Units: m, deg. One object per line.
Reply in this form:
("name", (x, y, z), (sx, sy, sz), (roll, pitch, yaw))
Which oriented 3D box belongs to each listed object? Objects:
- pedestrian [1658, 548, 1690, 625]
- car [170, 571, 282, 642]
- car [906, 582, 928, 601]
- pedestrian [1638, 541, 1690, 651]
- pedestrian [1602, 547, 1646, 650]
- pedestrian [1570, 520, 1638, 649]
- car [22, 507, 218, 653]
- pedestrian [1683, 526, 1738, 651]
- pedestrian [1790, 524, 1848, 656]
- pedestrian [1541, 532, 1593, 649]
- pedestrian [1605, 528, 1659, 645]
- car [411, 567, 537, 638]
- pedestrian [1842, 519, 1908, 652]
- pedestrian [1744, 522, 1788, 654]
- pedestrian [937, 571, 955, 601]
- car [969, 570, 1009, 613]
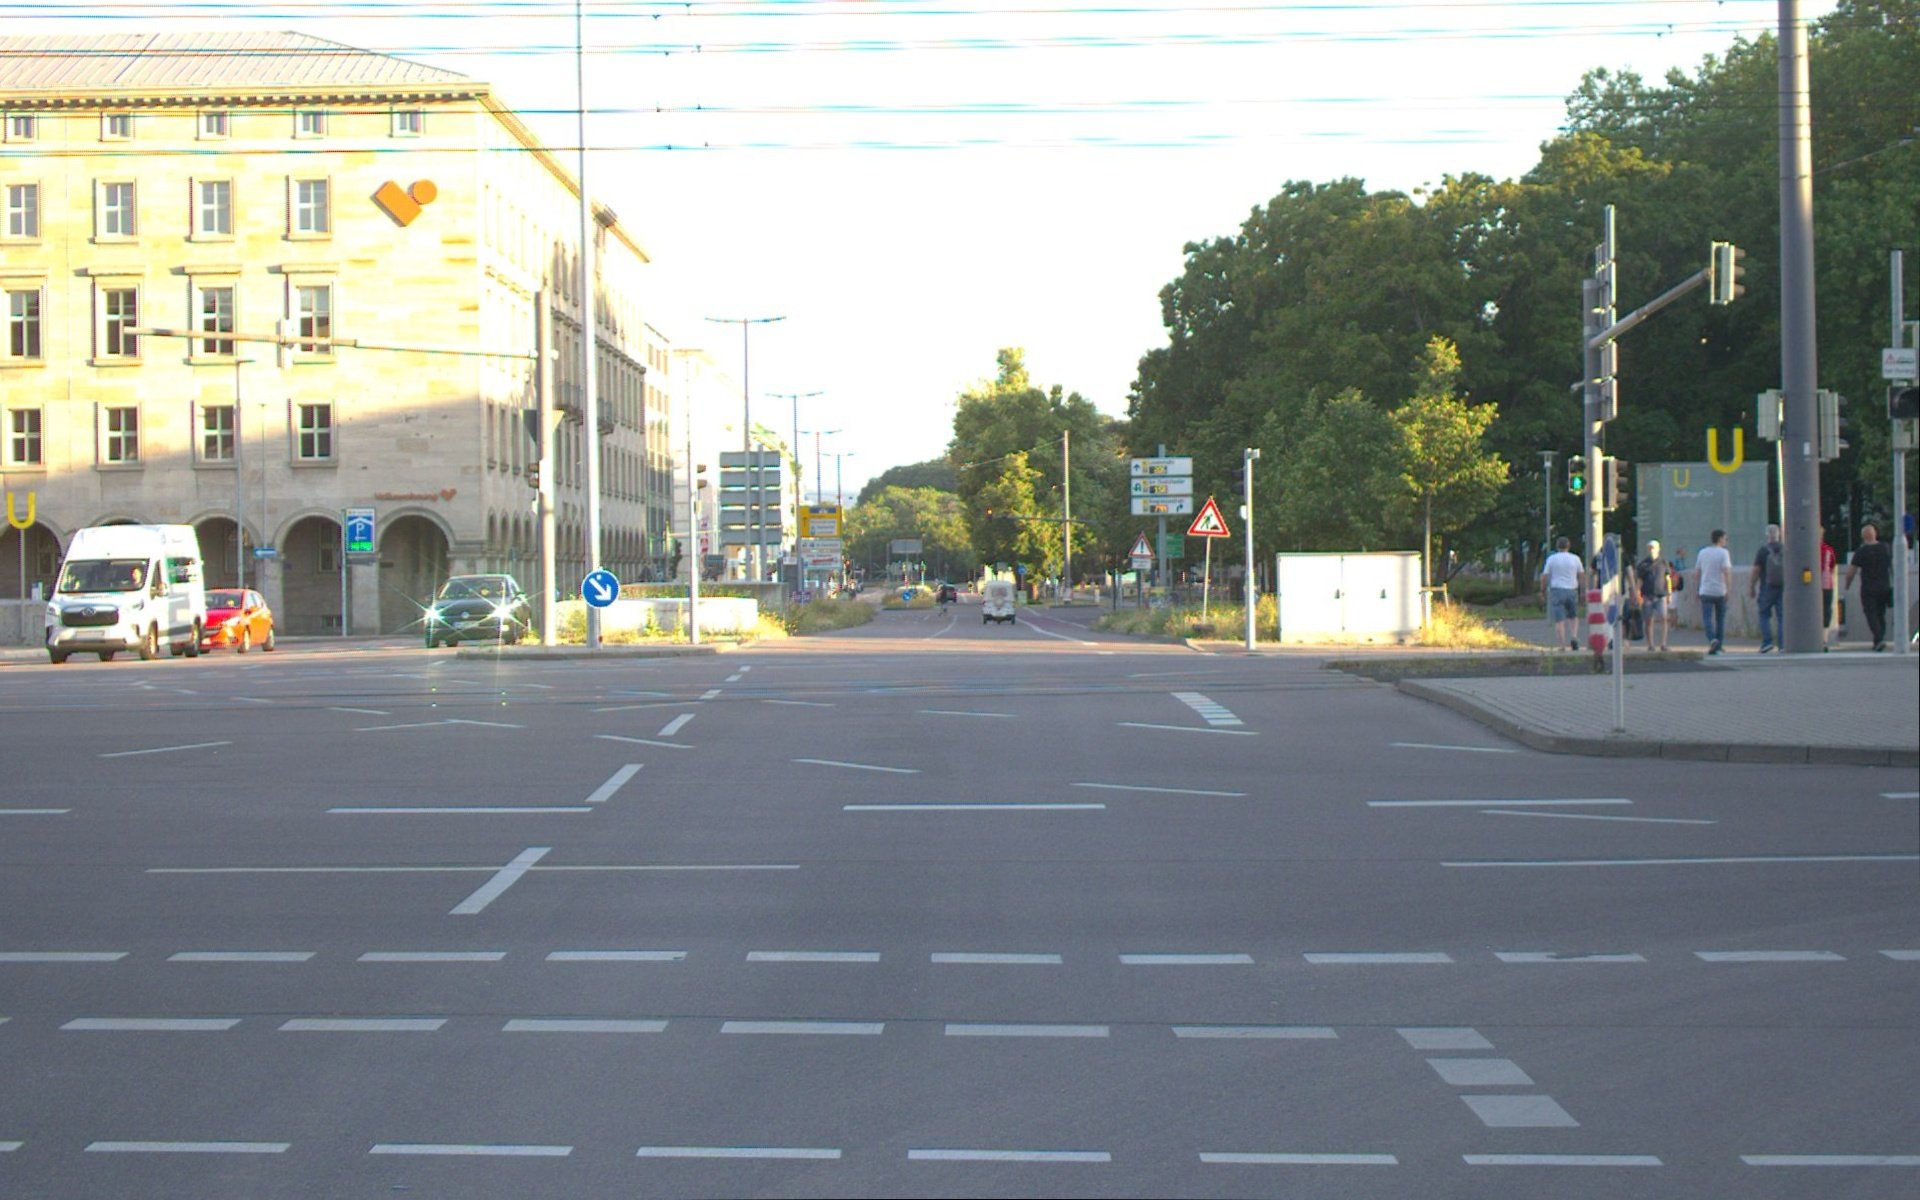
("pedestrian", (17.320, -0.329, 83.380), (0.666, 1.836, 0.713), (-1, 1, 5))
("car", (-16.546, 0.127, 77.662), (1.738, 1.482, 4.000), (-1, 1, -1))
("car", (-2.873, -0.591, 231.165), (1.370, 1.230, 3.045), (-1, 1, 1))
("pedestrian", (11.360, -0.068, 55.456), (0.680, 1.751, 0.901), (0, 1, 20))
("pedestrian", (10.757, -0.031, 55.685), (0.560, 1.649, 0.901), (0, 1, 20))
("pedestrian", (8.691, -0.209, 46.412), (0.711, 1.719, 0.915), (-1, 1, -2))
("car", (-16.718, -0.417, 68.807), (2.279, 2.766, 6.083), (-1, 1, 1))
("pedestrian", (10.397, -0.164, 47.651), (0.711, 1.719, 0.914), (0, 1, 11))
("pedestrian", (11.319, -0.137, 45.304), (0.703, 1.728, 0.846), (0, 1, 16))
("pedestrian", (9.012, -0.148, 51.042), (0.711, 1.719, 0.668), (0, 1, 13))
("pedestrian", (9.927, -0.201, 50.775), (0.711, 1.719, 0.668), (0, 1, 17))
("car", (-9.663, 0.031, 68.647), (1.823, 1.337, 4.000), (-1, 1, 2))
("pedestrian", (12.353, -0.201, 46.432), (0.805, 1.785, 0.800), (0, 1, 12))
("pedestrian", (10.982, -0.170, 46.850), (0.572, 1.785, 0.638), (0, 1, 14))
("pedestrian", (-0.775, -0.782, 190.879), (0.906, 1.665, 1.307), (-1, 1, -1))
("car", (1.186, -0.365, 140.829), (1.483, 1.690, 2.974), (-1, 1, -2))
